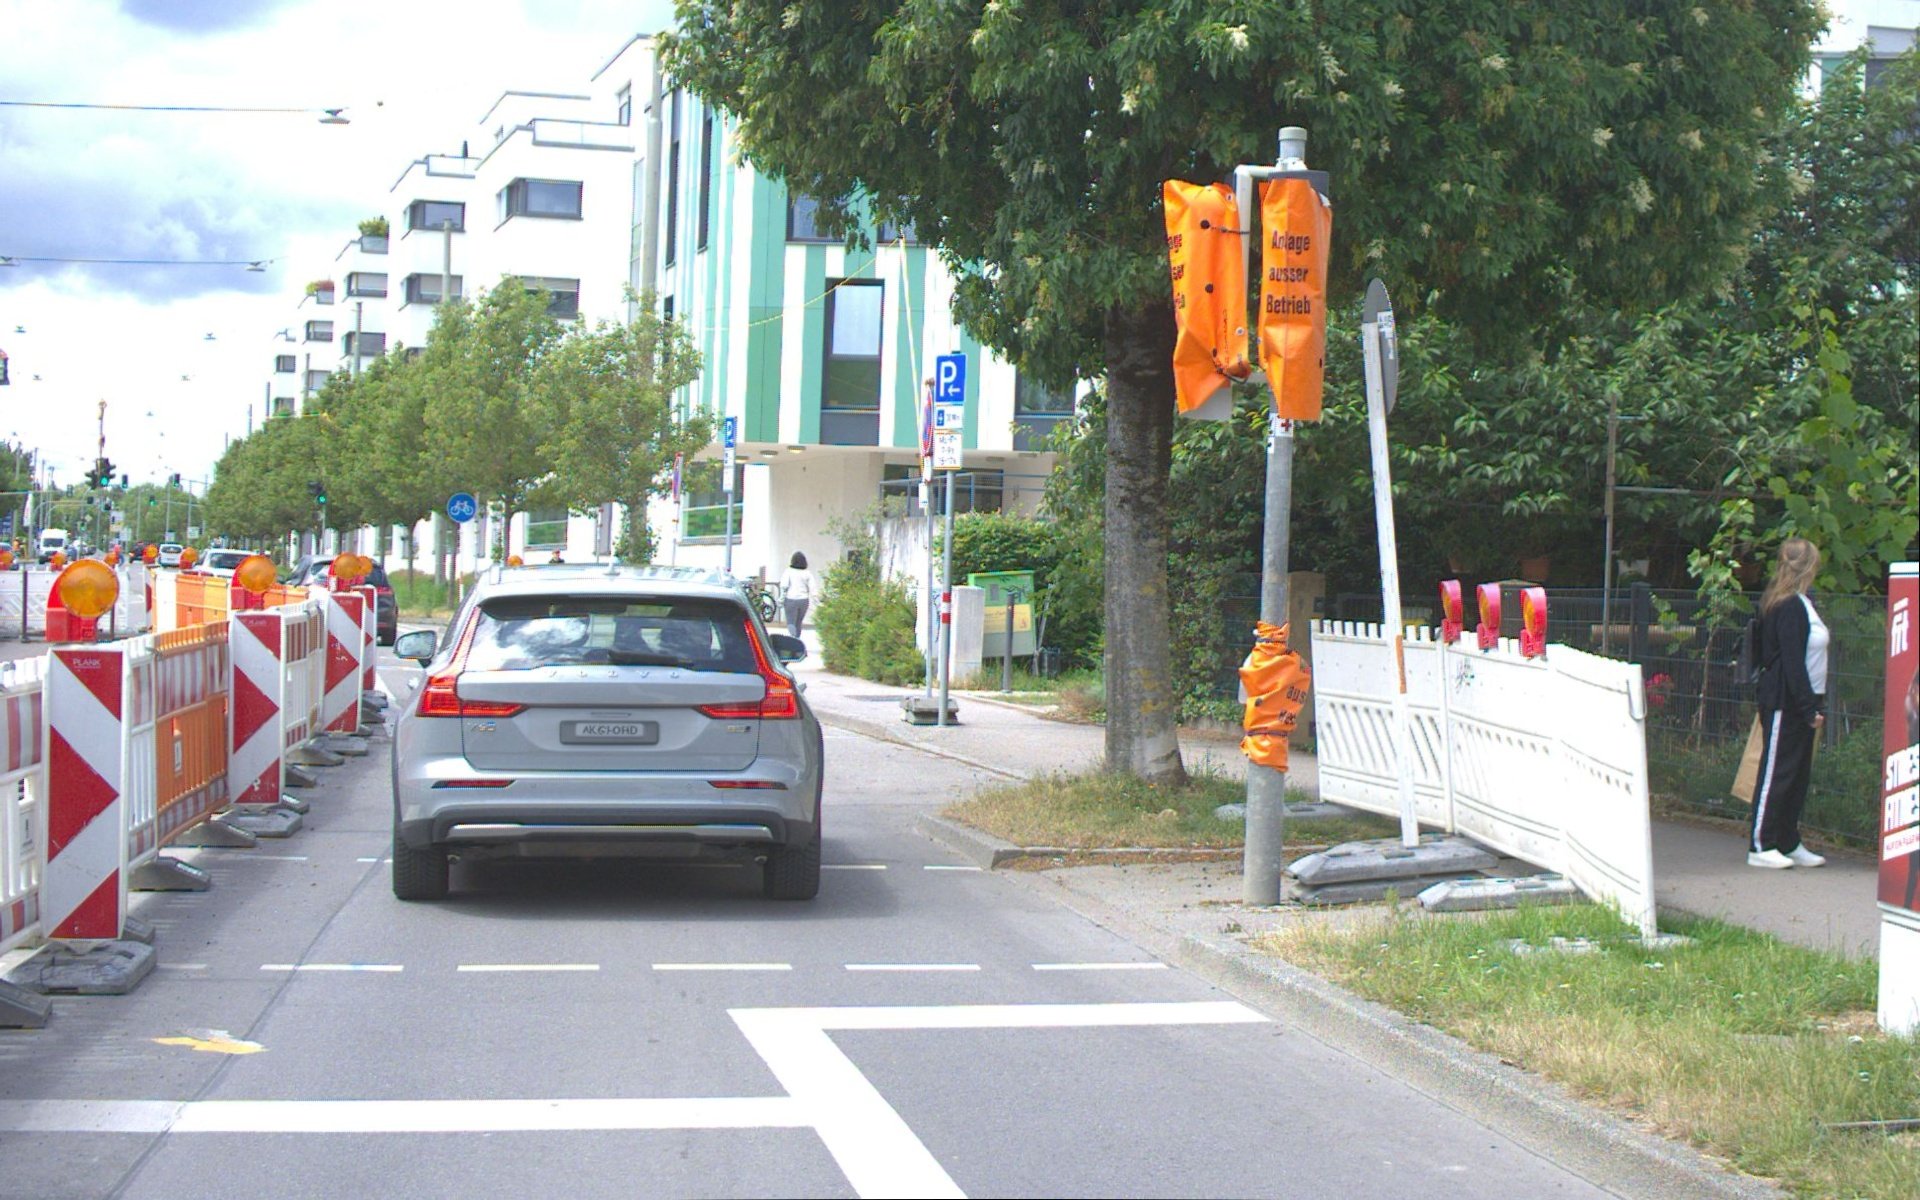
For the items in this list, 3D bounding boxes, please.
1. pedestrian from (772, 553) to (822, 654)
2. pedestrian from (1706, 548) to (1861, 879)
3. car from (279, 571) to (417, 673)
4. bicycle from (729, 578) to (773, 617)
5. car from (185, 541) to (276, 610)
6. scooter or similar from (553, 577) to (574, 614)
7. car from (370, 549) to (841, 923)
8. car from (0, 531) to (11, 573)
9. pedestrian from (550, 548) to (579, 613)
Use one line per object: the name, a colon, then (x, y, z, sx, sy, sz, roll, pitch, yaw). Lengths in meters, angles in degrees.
pedestrian: (-2.540, 0.054, 53.455, 0.580, 1.546, 0.869, 1, 0, -14)
pedestrian: (3.901, 0.525, 16.307, 0.634, 1.534, 0.522, 1, 1, 8)
car: (-10.229, 0.347, 57.245, 1.854, 1.508, 4.001, 3, 0, -15)
bicycle: (-4.611, -0.048, 75.881, 0.307, 0.839, 1.022, 2, 1, 43)
car: (-17.377, -0.594, 81.796, 1.844, 1.508, 4.001, 3, 0, -15)
scooter or similar: (-9.984, -0.121, 86.486, 0.421, 0.902, 0.682, 1, 1, -15)
car: (-1.776, 0.534, 16.034, 1.854, 1.508, 4.001, 1, 1, -10)
car: (-36.038, -1.790, 126.315, 1.854, 1.508, 4.001, 1, 1, -10)
pedestrian: (-10.004, -0.495, 86.926, 0.605, 1.649, 0.552, 1, 0, -15)
